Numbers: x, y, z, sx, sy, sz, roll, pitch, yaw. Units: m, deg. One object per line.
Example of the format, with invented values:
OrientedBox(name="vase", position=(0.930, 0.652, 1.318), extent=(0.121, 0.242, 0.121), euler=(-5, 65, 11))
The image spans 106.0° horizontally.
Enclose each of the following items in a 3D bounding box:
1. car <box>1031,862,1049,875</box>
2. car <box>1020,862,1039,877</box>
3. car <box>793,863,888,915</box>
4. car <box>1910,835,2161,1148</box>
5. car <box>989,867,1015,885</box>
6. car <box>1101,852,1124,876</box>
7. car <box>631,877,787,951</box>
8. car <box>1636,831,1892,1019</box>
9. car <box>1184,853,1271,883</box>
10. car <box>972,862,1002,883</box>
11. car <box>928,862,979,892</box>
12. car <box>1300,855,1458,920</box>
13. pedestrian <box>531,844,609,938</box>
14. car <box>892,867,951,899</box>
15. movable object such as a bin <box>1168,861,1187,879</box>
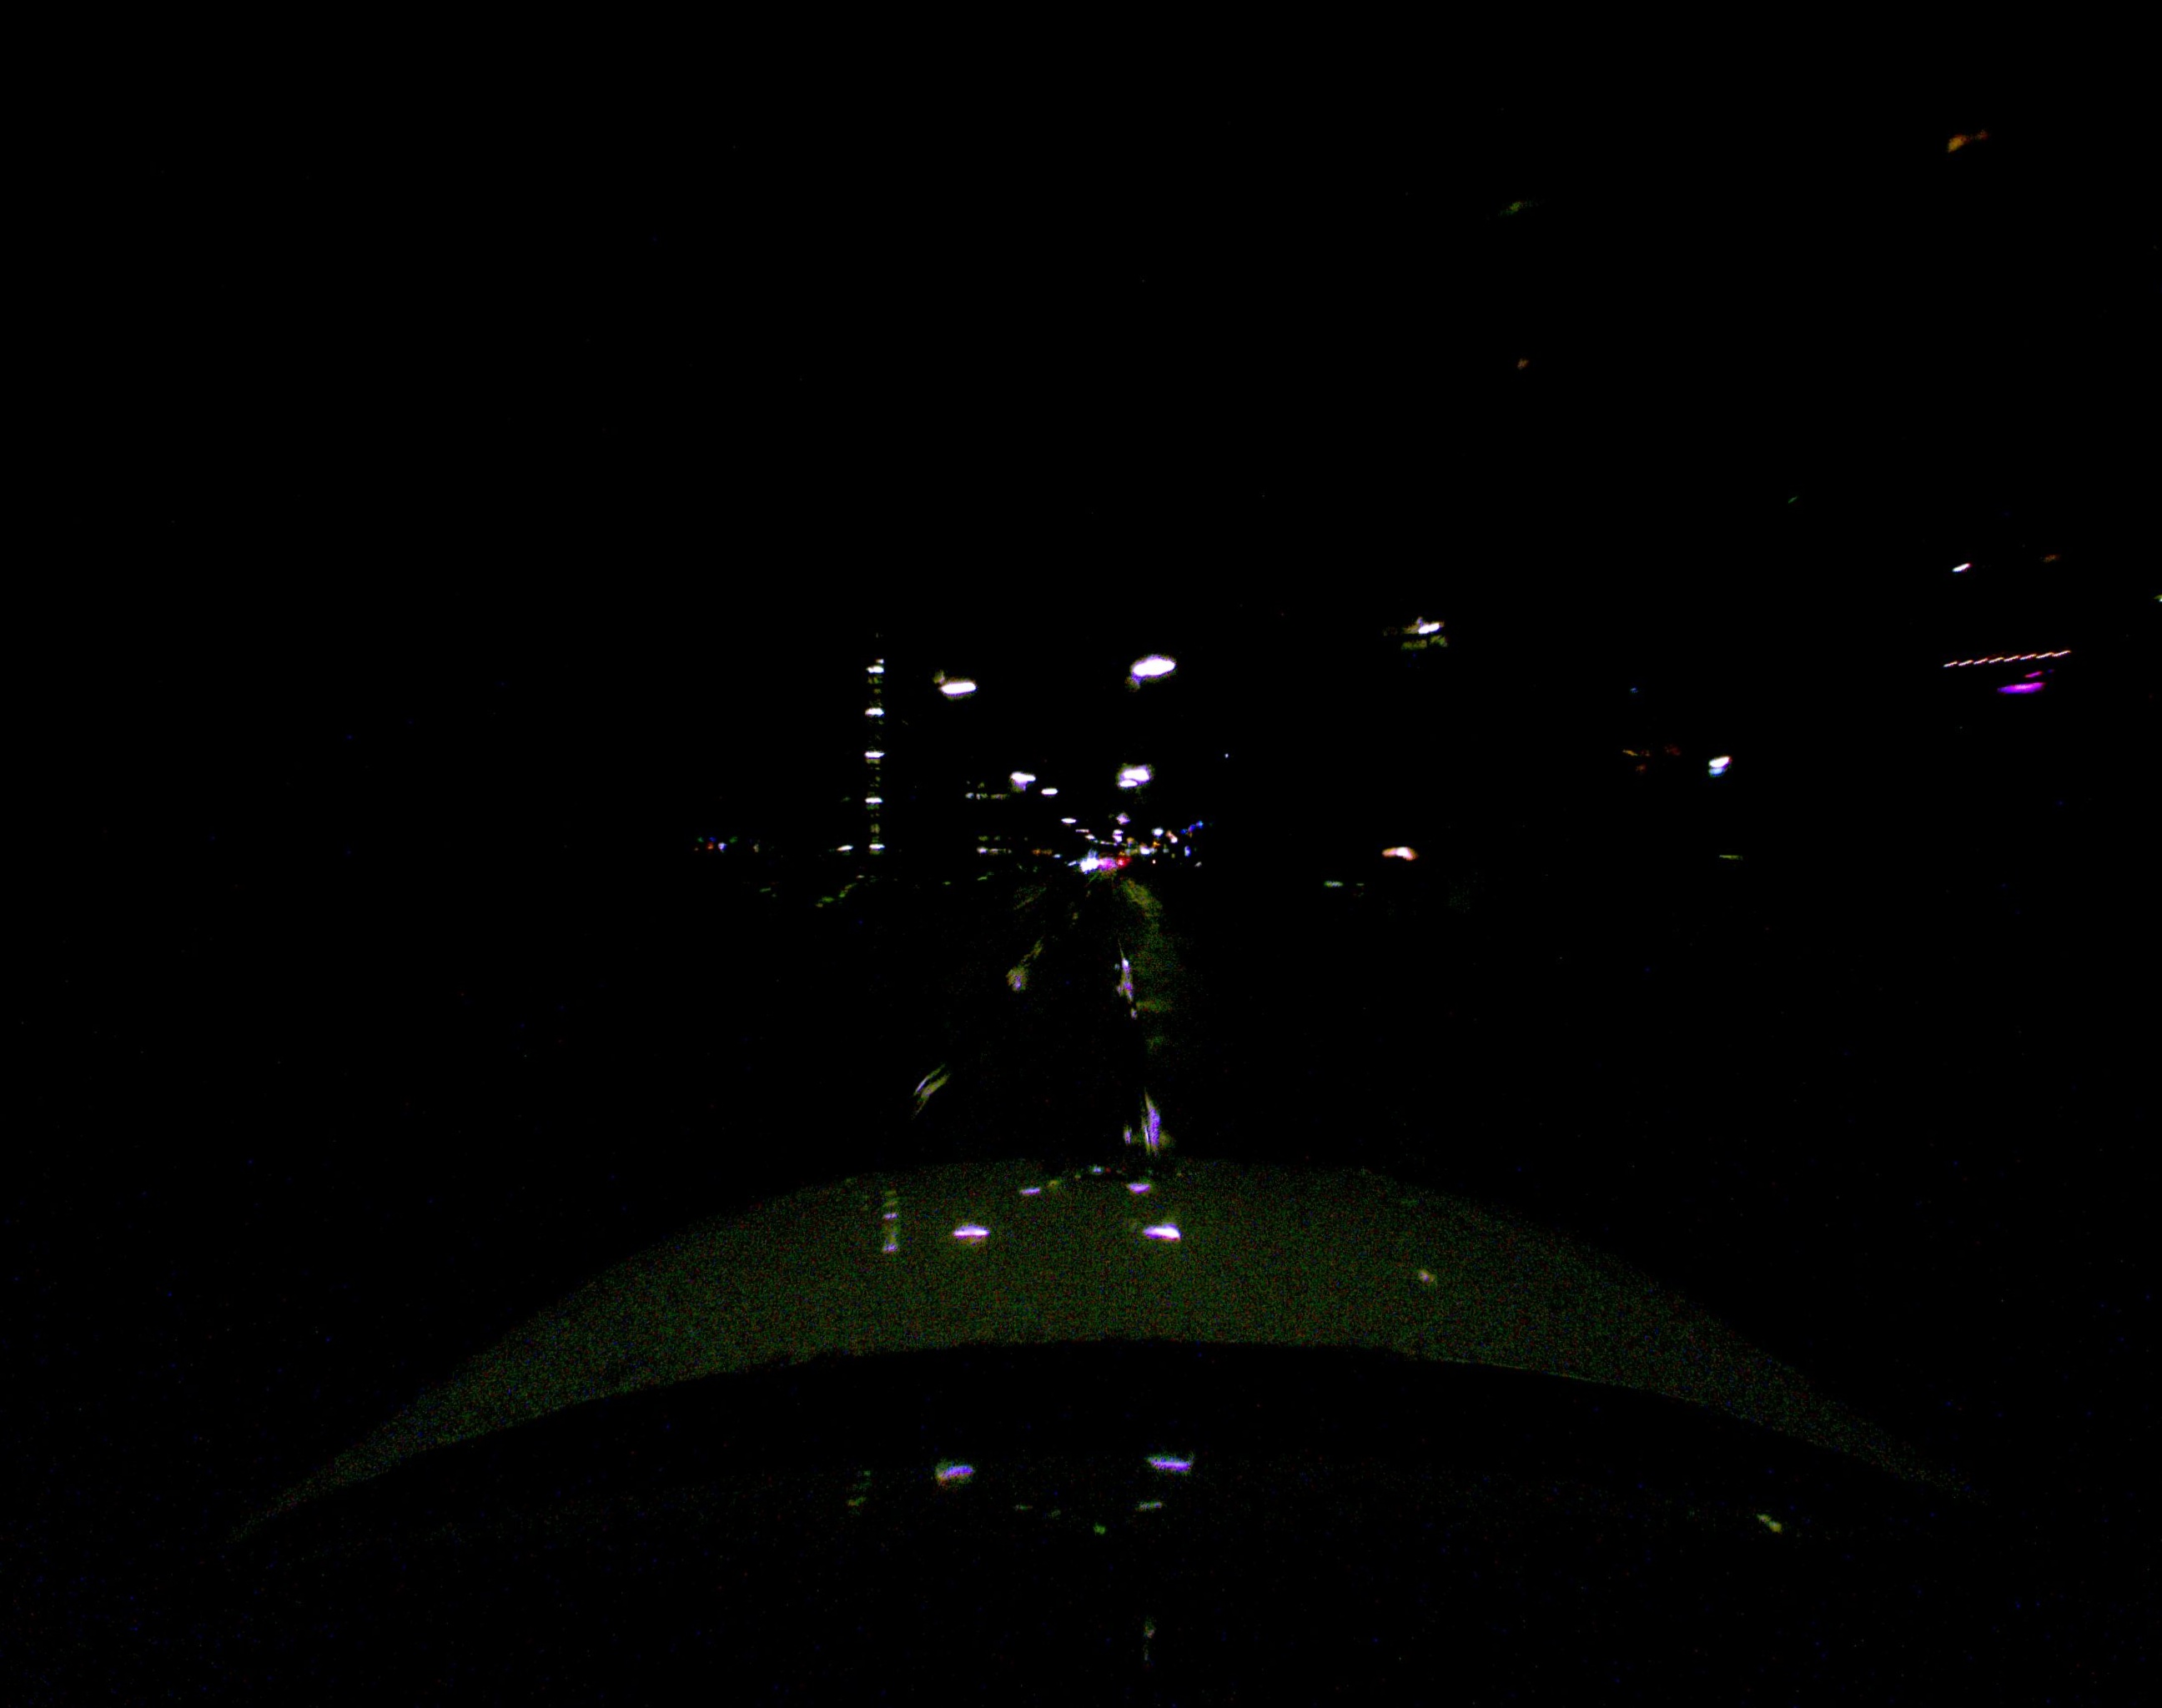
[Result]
OrientedBox(name="car", position=(-5.305, 1.841, 105.486), extent=(1.976, 1.631, 4.518), euler=(-1, -1, 2))
OrientedBox(name="car", position=(-5.807, 1.778, 91.705), extent=(1.875, 1.545, 4.397), euler=(2, -1, -1))
OrientedBox(name="car", position=(-8.243, 1.161, 28.304), extent=(1.802, 1.579, 4.355), euler=(2, 0, 2))
OrientedBox(name="car", position=(6.645, 0.639, 5.013), extent=(3.589, 1.472, 1.635), euler=(-2, 0, -36))
OrientedBox(name="car", position=(-6.658, 1.877, 69.133), extent=(1.835, 1.423, 4.207), euler=(-1, -1, -1))
OrientedBox(name="car", position=(3.113, 1.016, 81.467), extent=(2.236, 2.361, 4.394), euler=(-1, -1, 1))
OrientedBox(name="car", position=(-8.449, 1.305, 18.922), extent=(1.712, 1.456, 3.951), euler=(-1, -1, 1))
OrientedBox(name="car", position=(7.279, 0.590, 8.544), extent=(1.690, 1.512, 3.929), euler=(-2, -1, 45))
OrientedBox(name="car", position=(8.443, 0.792, 46.914), extent=(4.598, 1.475, 1.828), euler=(-2, -1, -18))
OrientedBox(name="car", position=(-6.843, 1.340, 59.589), extent=(1.768, 1.440, 4.604), euler=(-1, -1, -2))
OrientedBox(name="car", position=(-7.439, 1.335, 47.997), extent=(2.135, 1.620, 4.590), euler=(2, -1, 2))
OrientedBox(name="car", position=(7.660, 0.784, 20.754), extent=(4.361, 1.468, 1.662), euler=(-1, -1, -37))
OrientedBox(name="pedestrian", position=(-10.769, 0.759, 17.219), extent=(0.789, 1.901, 1.291), euler=(-1, -1, 2))
OrientedBox(name="car", position=(-7.542, 1.329, 38.954), extent=(1.724, 1.438, 4.628), euler=(-1, -1, 2))
OrientedBox(name="movable object such as a bin", position=(7.953, 1.317, 67.157), extent=(1.319, 1.408, 1.158), euler=(-2, -1, -4))
